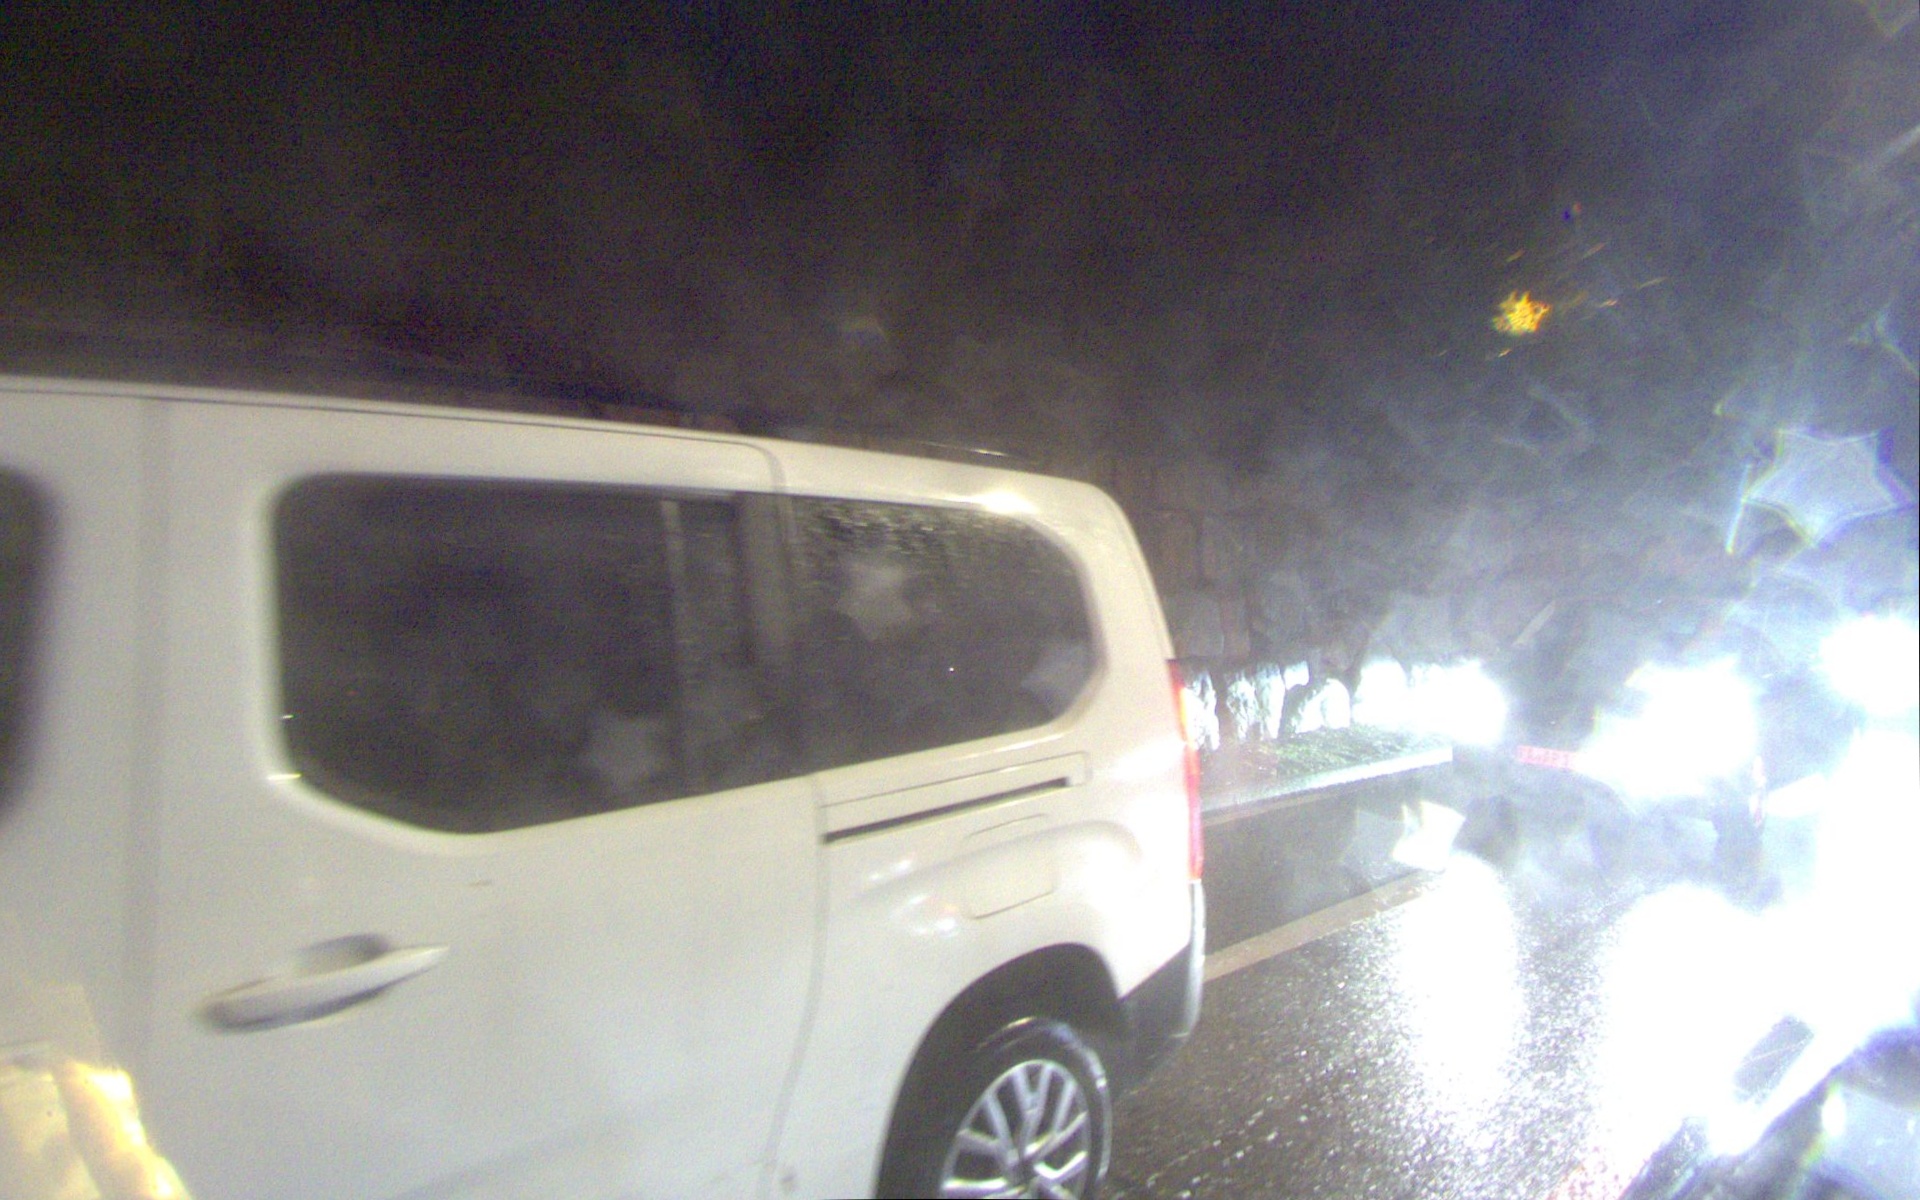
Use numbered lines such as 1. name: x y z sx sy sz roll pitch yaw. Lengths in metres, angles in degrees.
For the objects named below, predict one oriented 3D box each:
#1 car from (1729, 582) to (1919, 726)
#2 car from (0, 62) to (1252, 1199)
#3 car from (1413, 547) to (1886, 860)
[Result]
1. car: 12.152 0.615 13.782 4.358 1.669 1.787 0 0 -41
2. car: -1.512 0.492 1.668 4.502 2.047 1.793 0 1 -43
3. car: 5.278 0.553 7.549 4.142 1.715 1.790 0 0 -39
